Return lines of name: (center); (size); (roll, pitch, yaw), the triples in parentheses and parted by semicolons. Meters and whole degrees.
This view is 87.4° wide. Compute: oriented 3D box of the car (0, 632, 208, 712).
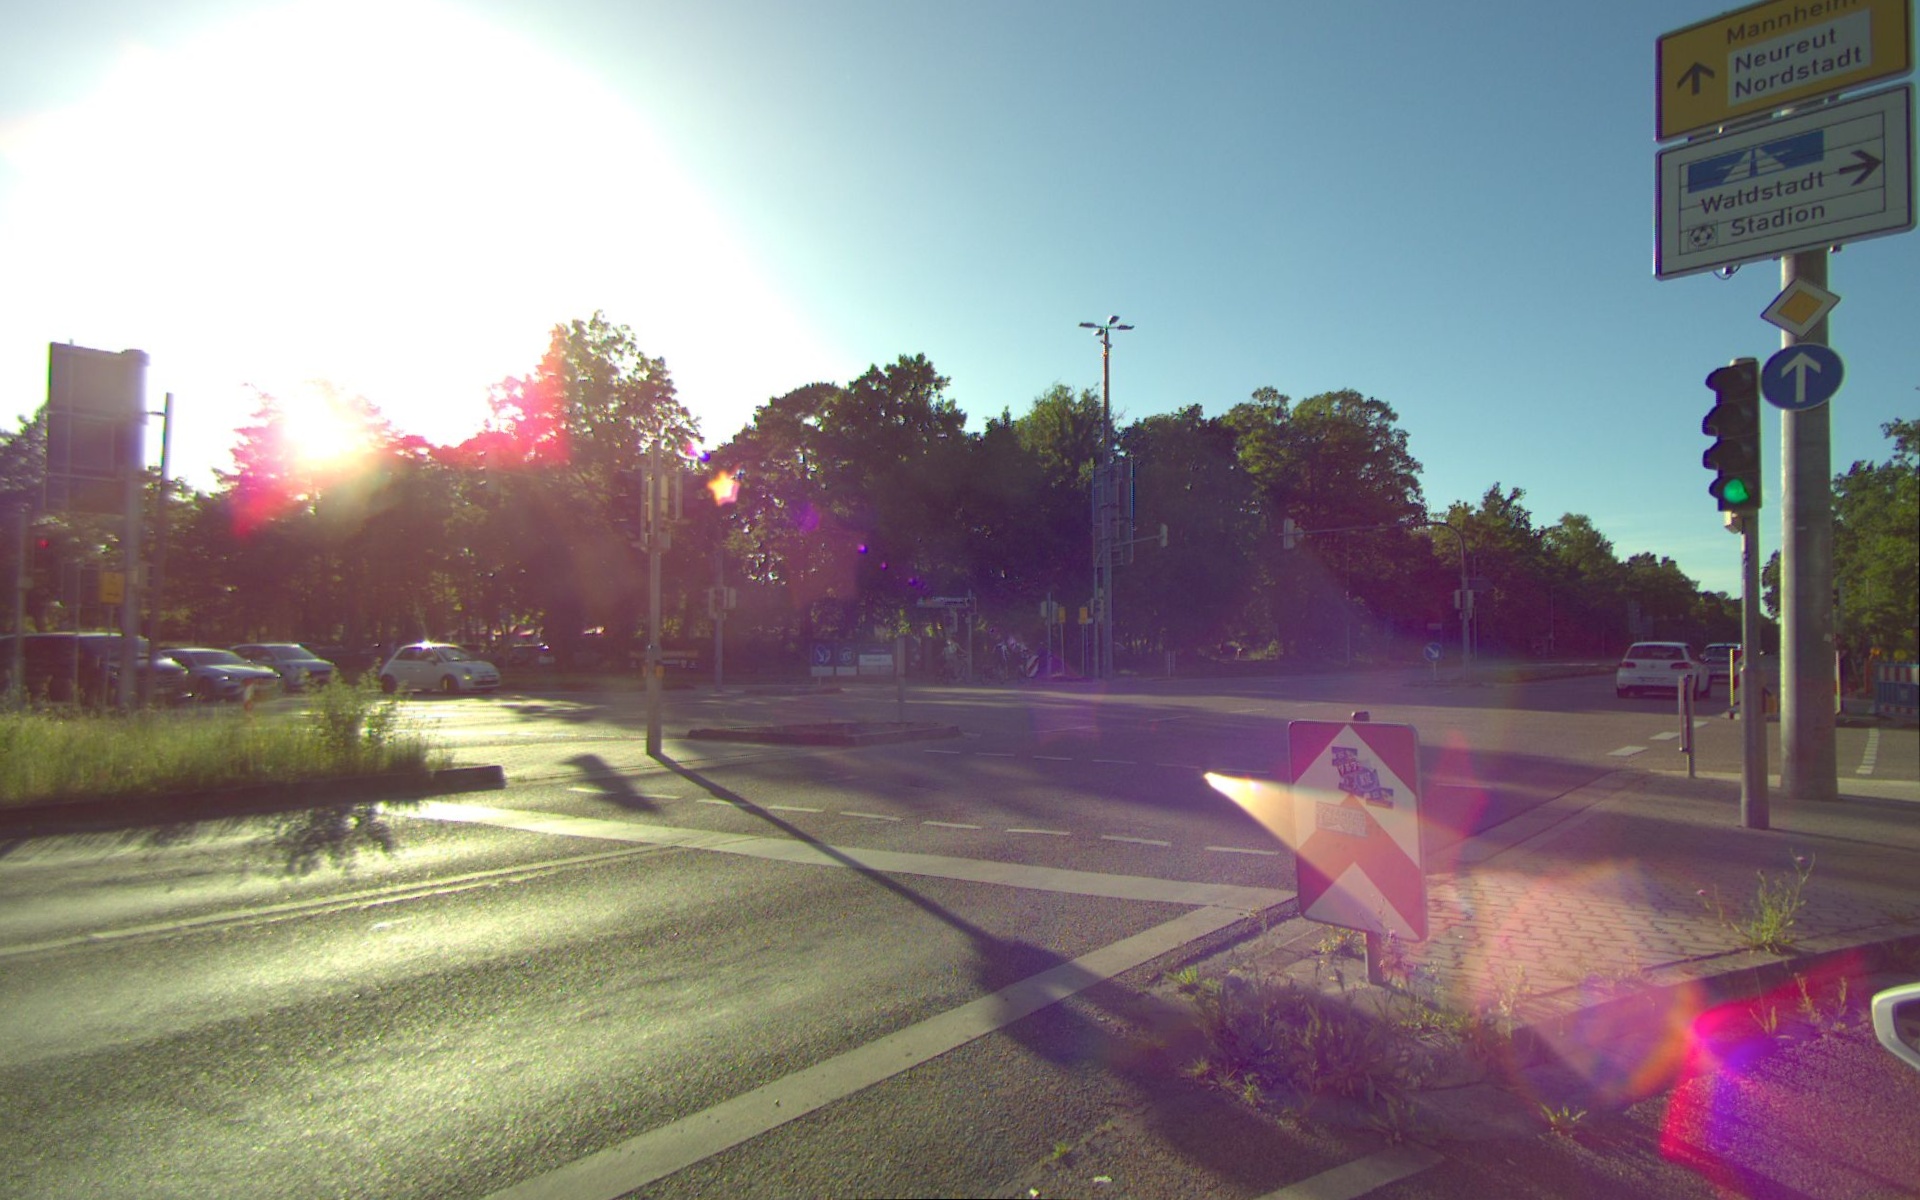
car: (-21.616, 1.753, 25.198); (4.836, 1.854, 1.929); (-1, -2, 18)

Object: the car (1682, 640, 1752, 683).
car: (29.130, 2.319, 38.608); (1.970, 1.556, 3.983); (-2, -3, 39)

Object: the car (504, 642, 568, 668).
car: (-26.645, 3.430, 63.283); (1.778, 1.620, 3.502); (-1, -2, 21)

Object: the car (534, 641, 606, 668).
car: (-24.225, 3.383, 62.550); (1.778, 1.620, 4.197); (-1, -2, 21)

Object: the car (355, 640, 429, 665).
car: (-38.520, 3.520, 68.184); (1.782, 1.620, 3.964); (-1, -3, 30)

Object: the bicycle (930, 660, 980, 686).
bicycle: (-0.171, 2.720, 37.658); (1.898, 0.926, 0.708); (2, -3, -44)

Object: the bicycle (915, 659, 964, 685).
bicycle: (-0.761, 2.739, 38.344); (1.897, 0.926, 0.708); (1, -2, -44)

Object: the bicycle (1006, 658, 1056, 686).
bicycle: (2.564, 2.572, 36.046); (1.898, 0.926, 0.708); (2, -3, -44)

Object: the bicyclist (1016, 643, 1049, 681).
bicyclist: (2.610, 2.222, 36.096); (0.983, 1.356, 0.708); (2, -3, -43)

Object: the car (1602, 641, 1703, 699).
car: (18.717, 1.844, 27.079); (1.917, 1.433, 3.983); (-2, -3, 39)

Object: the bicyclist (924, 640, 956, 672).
bicyclist: (-0.760, 2.139, 38.366); (0.983, 1.208, 0.708); (2, -3, -43)

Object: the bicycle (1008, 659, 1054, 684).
bicycle: (2.753, 2.741, 38.871); (1.898, 0.926, 0.708); (2, -3, -44)

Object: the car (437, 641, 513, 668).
car: (-31.231, 3.487, 64.764); (1.782, 1.620, 4.143); (-1, -3, 30)

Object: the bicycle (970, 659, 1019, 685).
bicycle: (1.285, 2.676, 37.400); (1.898, 0.926, 0.708); (2, -3, -44)

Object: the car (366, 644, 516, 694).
car: (-15.600, 2.052, 30.237); (3.724, 1.407, 1.929); (-1, -2, 18)

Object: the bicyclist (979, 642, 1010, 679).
bicyclist: (1.285, 2.236, 37.411); (0.983, 1.373, 0.708); (2, -3, -43)

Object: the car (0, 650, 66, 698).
car: (-30.151, 2.271, 31.250); (3.724, 1.407, 1.855); (-1, -2, 18)

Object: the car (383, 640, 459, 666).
car: (-34.874, 3.378, 65.036); (1.782, 1.620, 3.964); (-1, -3, 30)

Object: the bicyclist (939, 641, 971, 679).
bicyclist: (-0.196, 2.231, 37.654); (0.983, 1.408, 0.704); (2, -3, -43)

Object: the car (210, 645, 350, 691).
car: (-21.939, 2.153, 32.442); (3.724, 1.407, 1.855); (-1, -2, 18)

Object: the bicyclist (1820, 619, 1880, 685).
bicyclist: (27.228, 1.578, 30.732); (0.998, 1.955, 0.967); (1, -1, -10)

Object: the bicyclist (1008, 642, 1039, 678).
bicyclist: (2.426, 2.280, 38.570); (0.983, 1.359, 0.708); (2, -3, -43)

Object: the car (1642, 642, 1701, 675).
car: (34.319, 2.788, 48.415); (1.843, 1.463, 3.977); (-1, -2, 43)

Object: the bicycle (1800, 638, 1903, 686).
bicycle: (27.265, 1.877, 30.728); (2.592, 1.401, 0.967); (1, -1, -10)

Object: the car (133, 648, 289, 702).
car: (-21.013, 2.071, 28.203); (3.724, 1.407, 1.648); (-1, -2, 18)
